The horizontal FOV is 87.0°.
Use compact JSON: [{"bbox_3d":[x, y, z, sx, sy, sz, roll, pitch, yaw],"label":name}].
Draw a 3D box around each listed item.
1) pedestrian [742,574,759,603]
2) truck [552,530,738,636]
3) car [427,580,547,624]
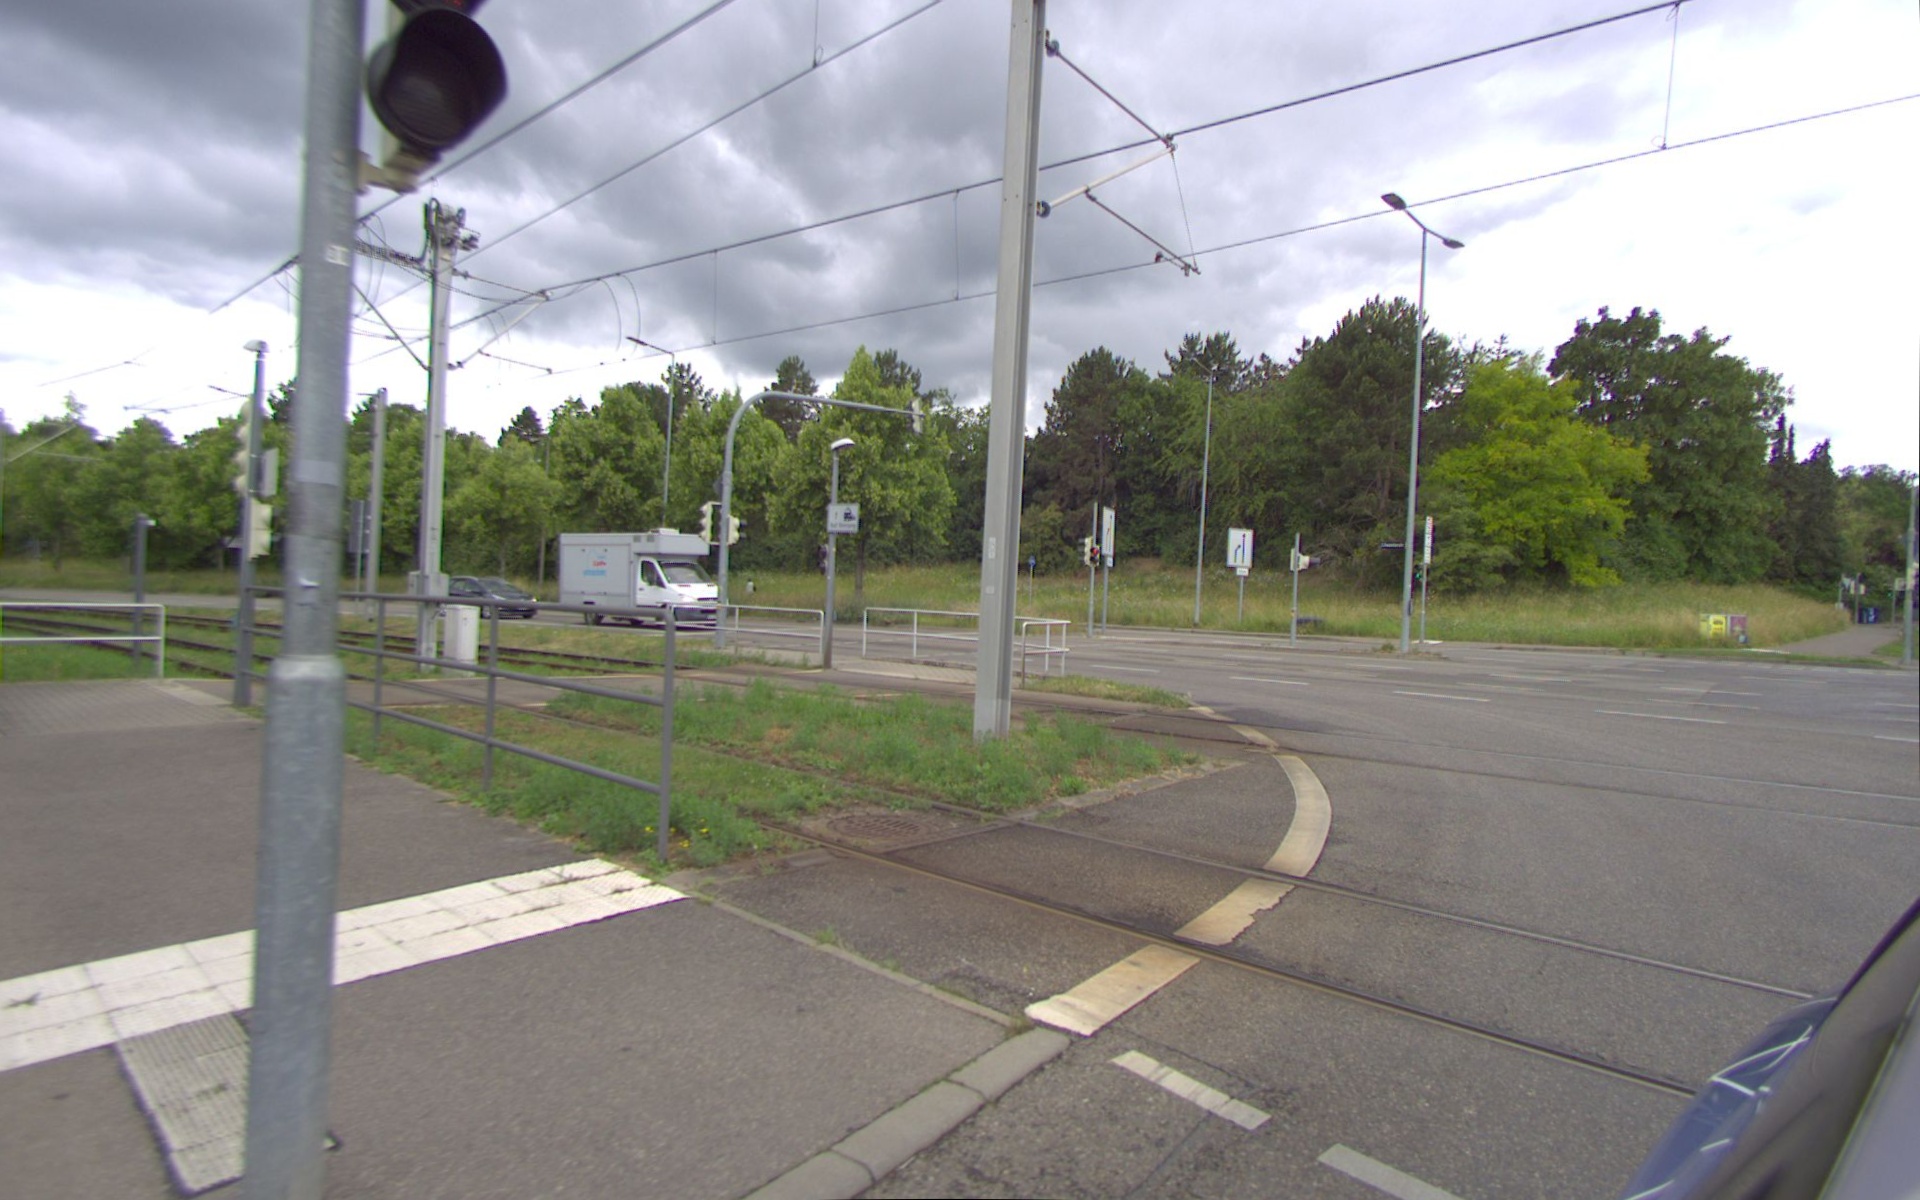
[{"bbox_3d":[-12.617,-0.692,60.972,0.623,1.739,0.729,2,0,44],"label":"pedestrian"},{"bbox_3d":[-9.921,-0.637,31.674,6.228,3.047,2.087,2,3,33],"label":"truck"},{"bbox_3d":[-17.124,0.059,36.627,3.964,1.415,1.980,2,0,29],"label":"car"}]
